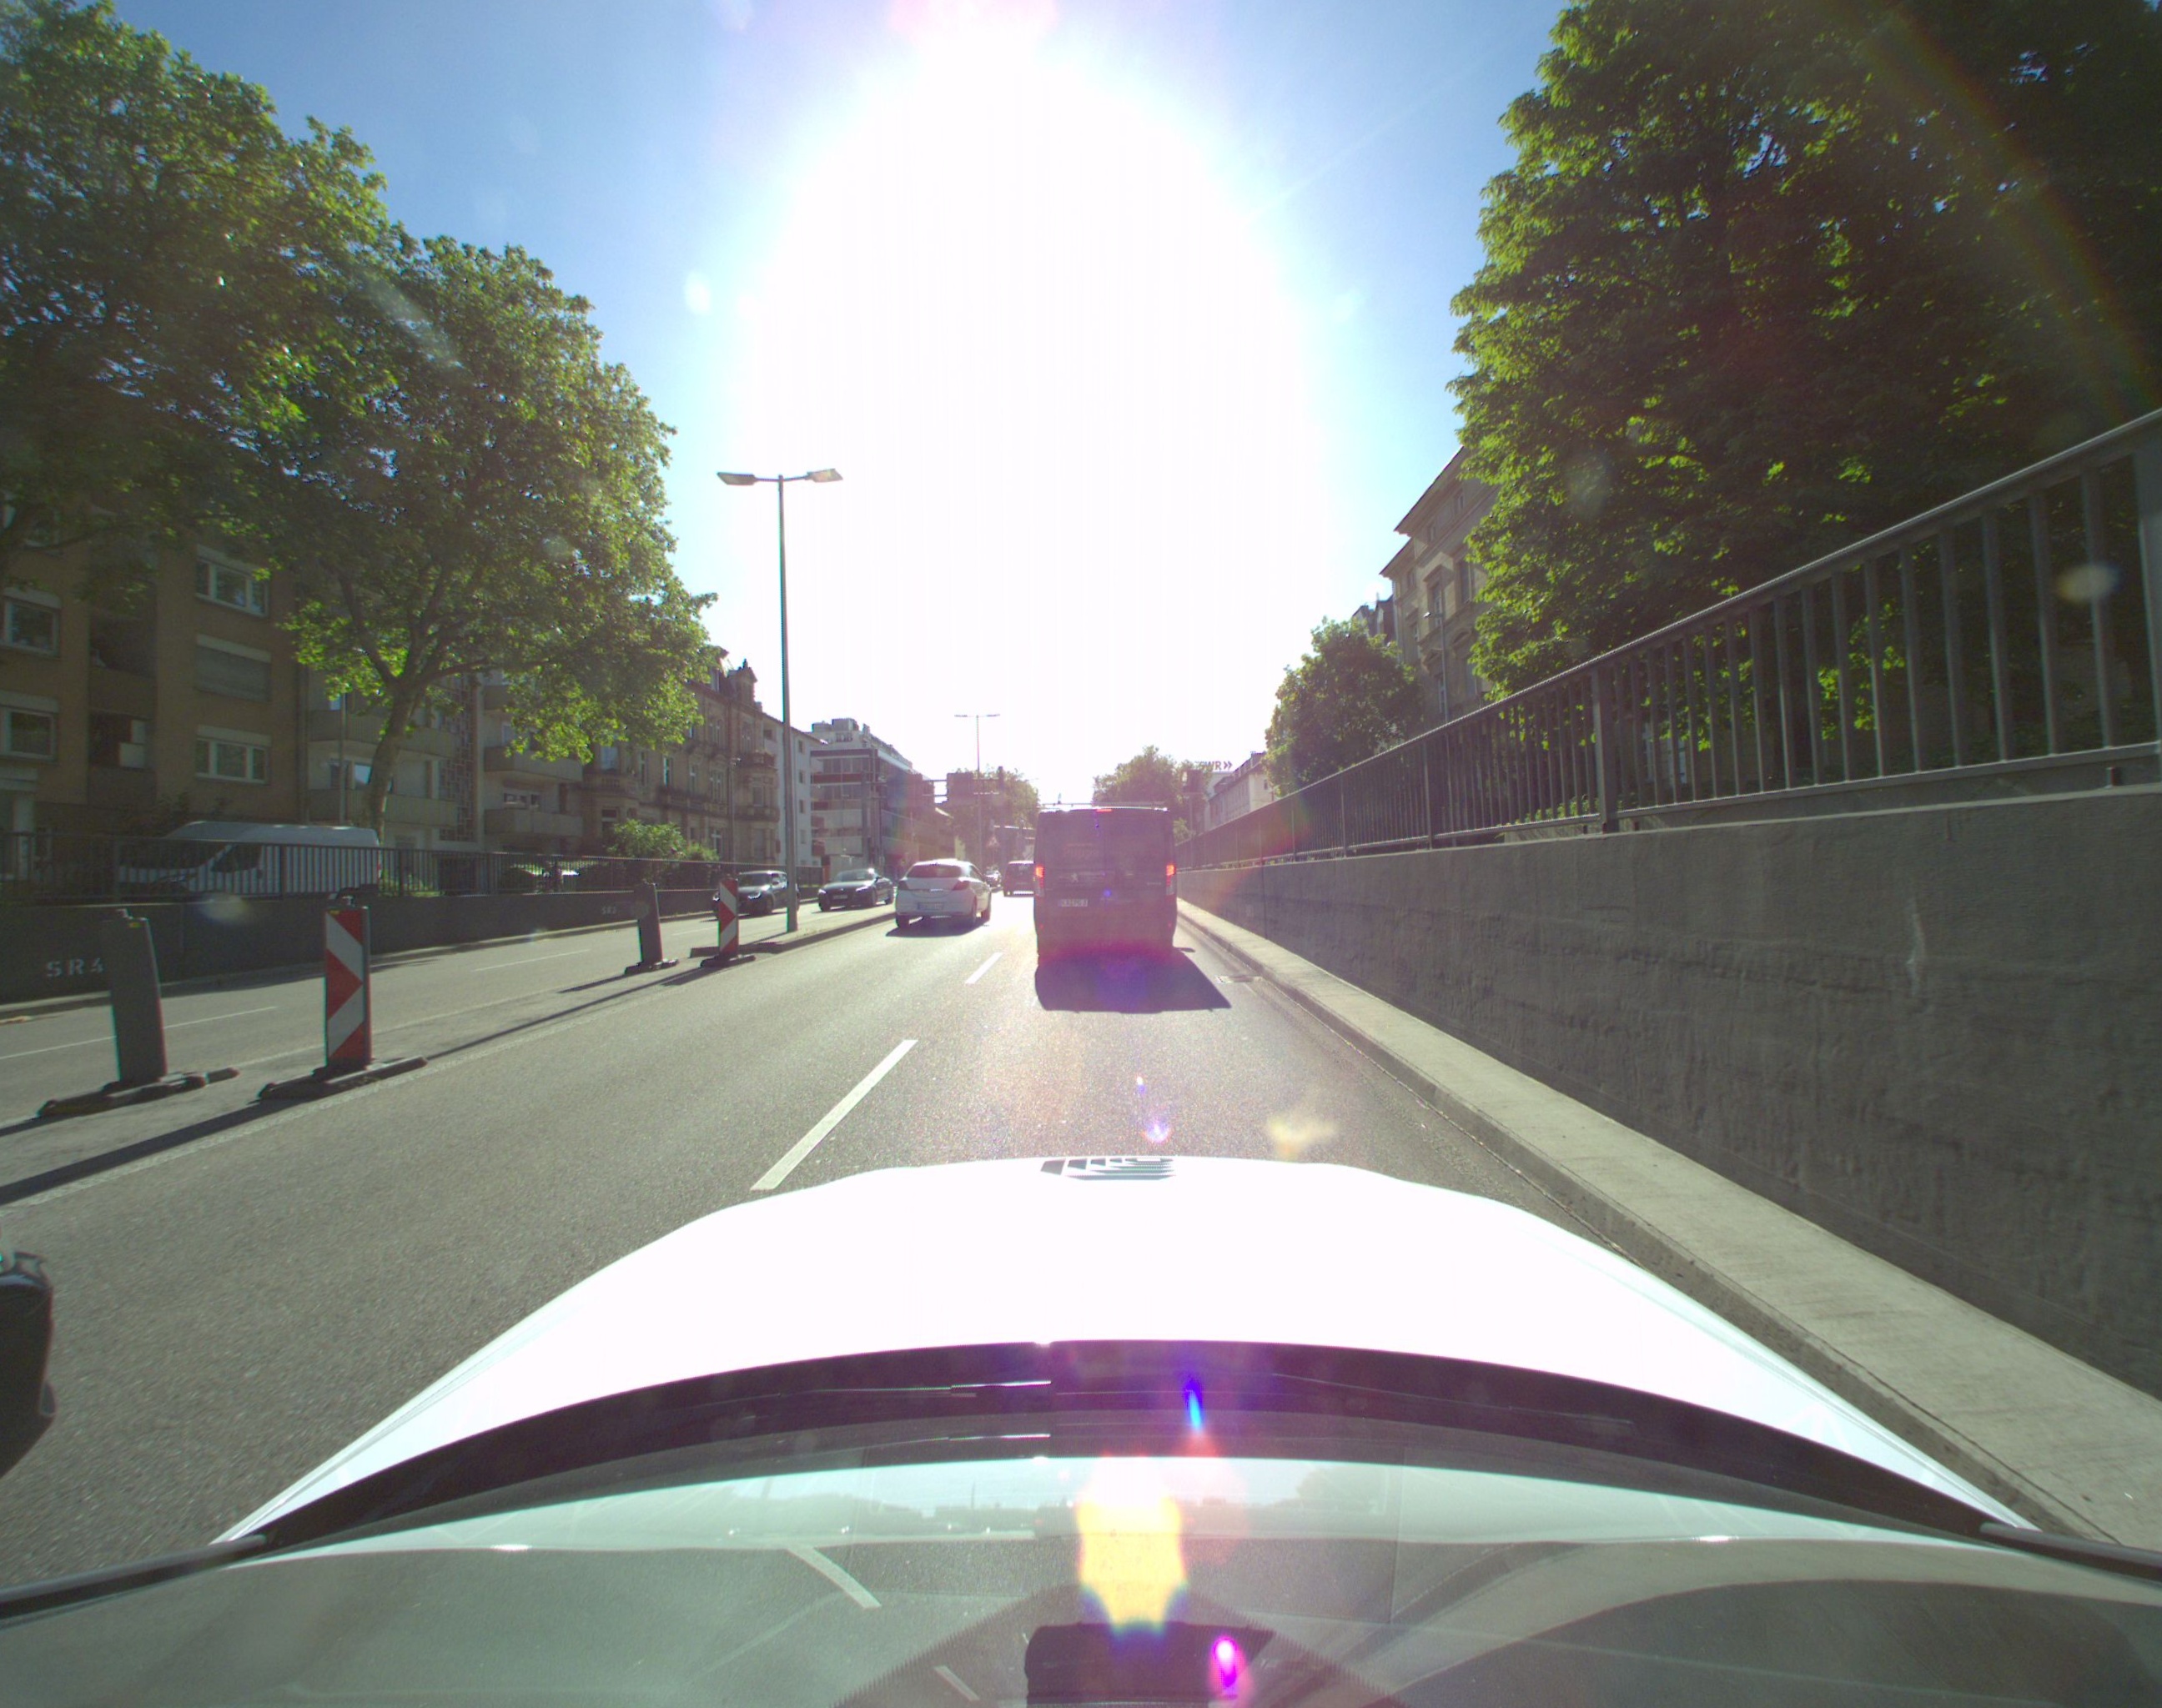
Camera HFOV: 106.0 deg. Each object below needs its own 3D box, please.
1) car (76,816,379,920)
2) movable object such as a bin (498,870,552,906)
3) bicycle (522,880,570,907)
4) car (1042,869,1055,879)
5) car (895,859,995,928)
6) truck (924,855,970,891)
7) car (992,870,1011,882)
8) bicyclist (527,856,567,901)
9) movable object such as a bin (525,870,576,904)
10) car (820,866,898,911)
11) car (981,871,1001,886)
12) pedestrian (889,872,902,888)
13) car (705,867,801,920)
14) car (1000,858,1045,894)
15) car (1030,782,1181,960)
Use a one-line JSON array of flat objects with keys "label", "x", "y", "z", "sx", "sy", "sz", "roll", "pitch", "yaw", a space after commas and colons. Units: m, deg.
[{"label": "car", "x": -21.728, "y": 0.361, "z": 21.211, "sx": 1.986, "sy": 2.359, "sz": 5.421, "roll": 0, "pitch": -1, "yaw": 2}, {"label": "movable object such as a bin", "x": -22.726, "y": 1.374, "z": 33.294, "sx": 1.274, "sy": 1.402, "sz": 1.301, "roll": 0, "pitch": -1, "yaw": 1}, {"label": "bicycle", "x": -19.506, "y": 1.432, "z": 29.732, "sx": 0.654, "sy": 0.927, "sz": 1.757, "roll": 0, "pitch": -1, "yaw": -2}, {"label": "car", "x": -5.578, "y": 3.411, "z": 138.870, "sx": 1.929, "sy": 1.555, "sz": 3.924, "roll": 0, "pitch": -1, "yaw": 1}, {"label": "car", "x": -3.023, "y": 0.831, "z": 18.809, "sx": 1.613, "sy": 1.403, "sz": 3.852, "roll": 0, "pitch": 0, "yaw": 1}, {"label": "truck", "x": -10.275, "y": 1.464, "z": 63.191, "sx": 2.220, "sy": 2.528, "sz": 6.131, "roll": -3, "pitch": -1, "yaw": 2}, {"label": "car", "x": -10.038, "y": 2.759, "z": 102.673, "sx": 1.929, "sy": 1.555, "sz": 3.924, "roll": 0, "pitch": -1, "yaw": 1}, {"label": "bicyclist", "x": -19.498, "y": 0.895, "z": 29.765, "sx": 0.773, "sy": 1.633, "sz": 1.022, "roll": 0, "pitch": -1, "yaw": -2}, {"label": "movable object such as a bin", "x": -22.553, "y": 1.396, "z": 34.662, "sx": 1.274, "sy": 1.402, "sz": 1.325, "roll": 0, "pitch": -1, "yaw": 1}, {"label": "car", "x": -7.724, "y": 1.168, "z": 28.625, "sx": 1.533, "sy": 1.300, "sz": 3.928, "roll": -4, "pitch": 0, "yaw": 0}, {"label": "car", "x": -9.490, "y": 2.552, "z": 85.854, "sx": 1.586, "sy": 1.445, "sz": 3.496, "roll": -4, "pitch": -1, "yaw": 0}, {"label": "pedestrian", "x": -22.458, "y": 3.167, "z": 98.573, "sx": 1.328, "sy": 1.931, "sz": 1.026, "roll": 0, "pitch": -1, "yaw": 1}, {"label": "car", "x": -10.802, "y": 1.254, "z": 27.084, "sx": 1.533, "sy": 1.465, "sz": 3.717, "roll": -4, "pitch": 0, "yaw": 0}, {"label": "car", "x": -2.512, "y": 0.920, "z": 35.582, "sx": 1.683, "sy": 1.483, "sz": 3.319, "roll": 0, "pitch": 0, "yaw": 0}, {"label": "car", "x": 0.378, "y": 0.266, "z": 13.128, "sx": 2.023, "sy": 2.402, "sz": 3.973, "roll": -1, "pitch": -1, "yaw": 1}]
